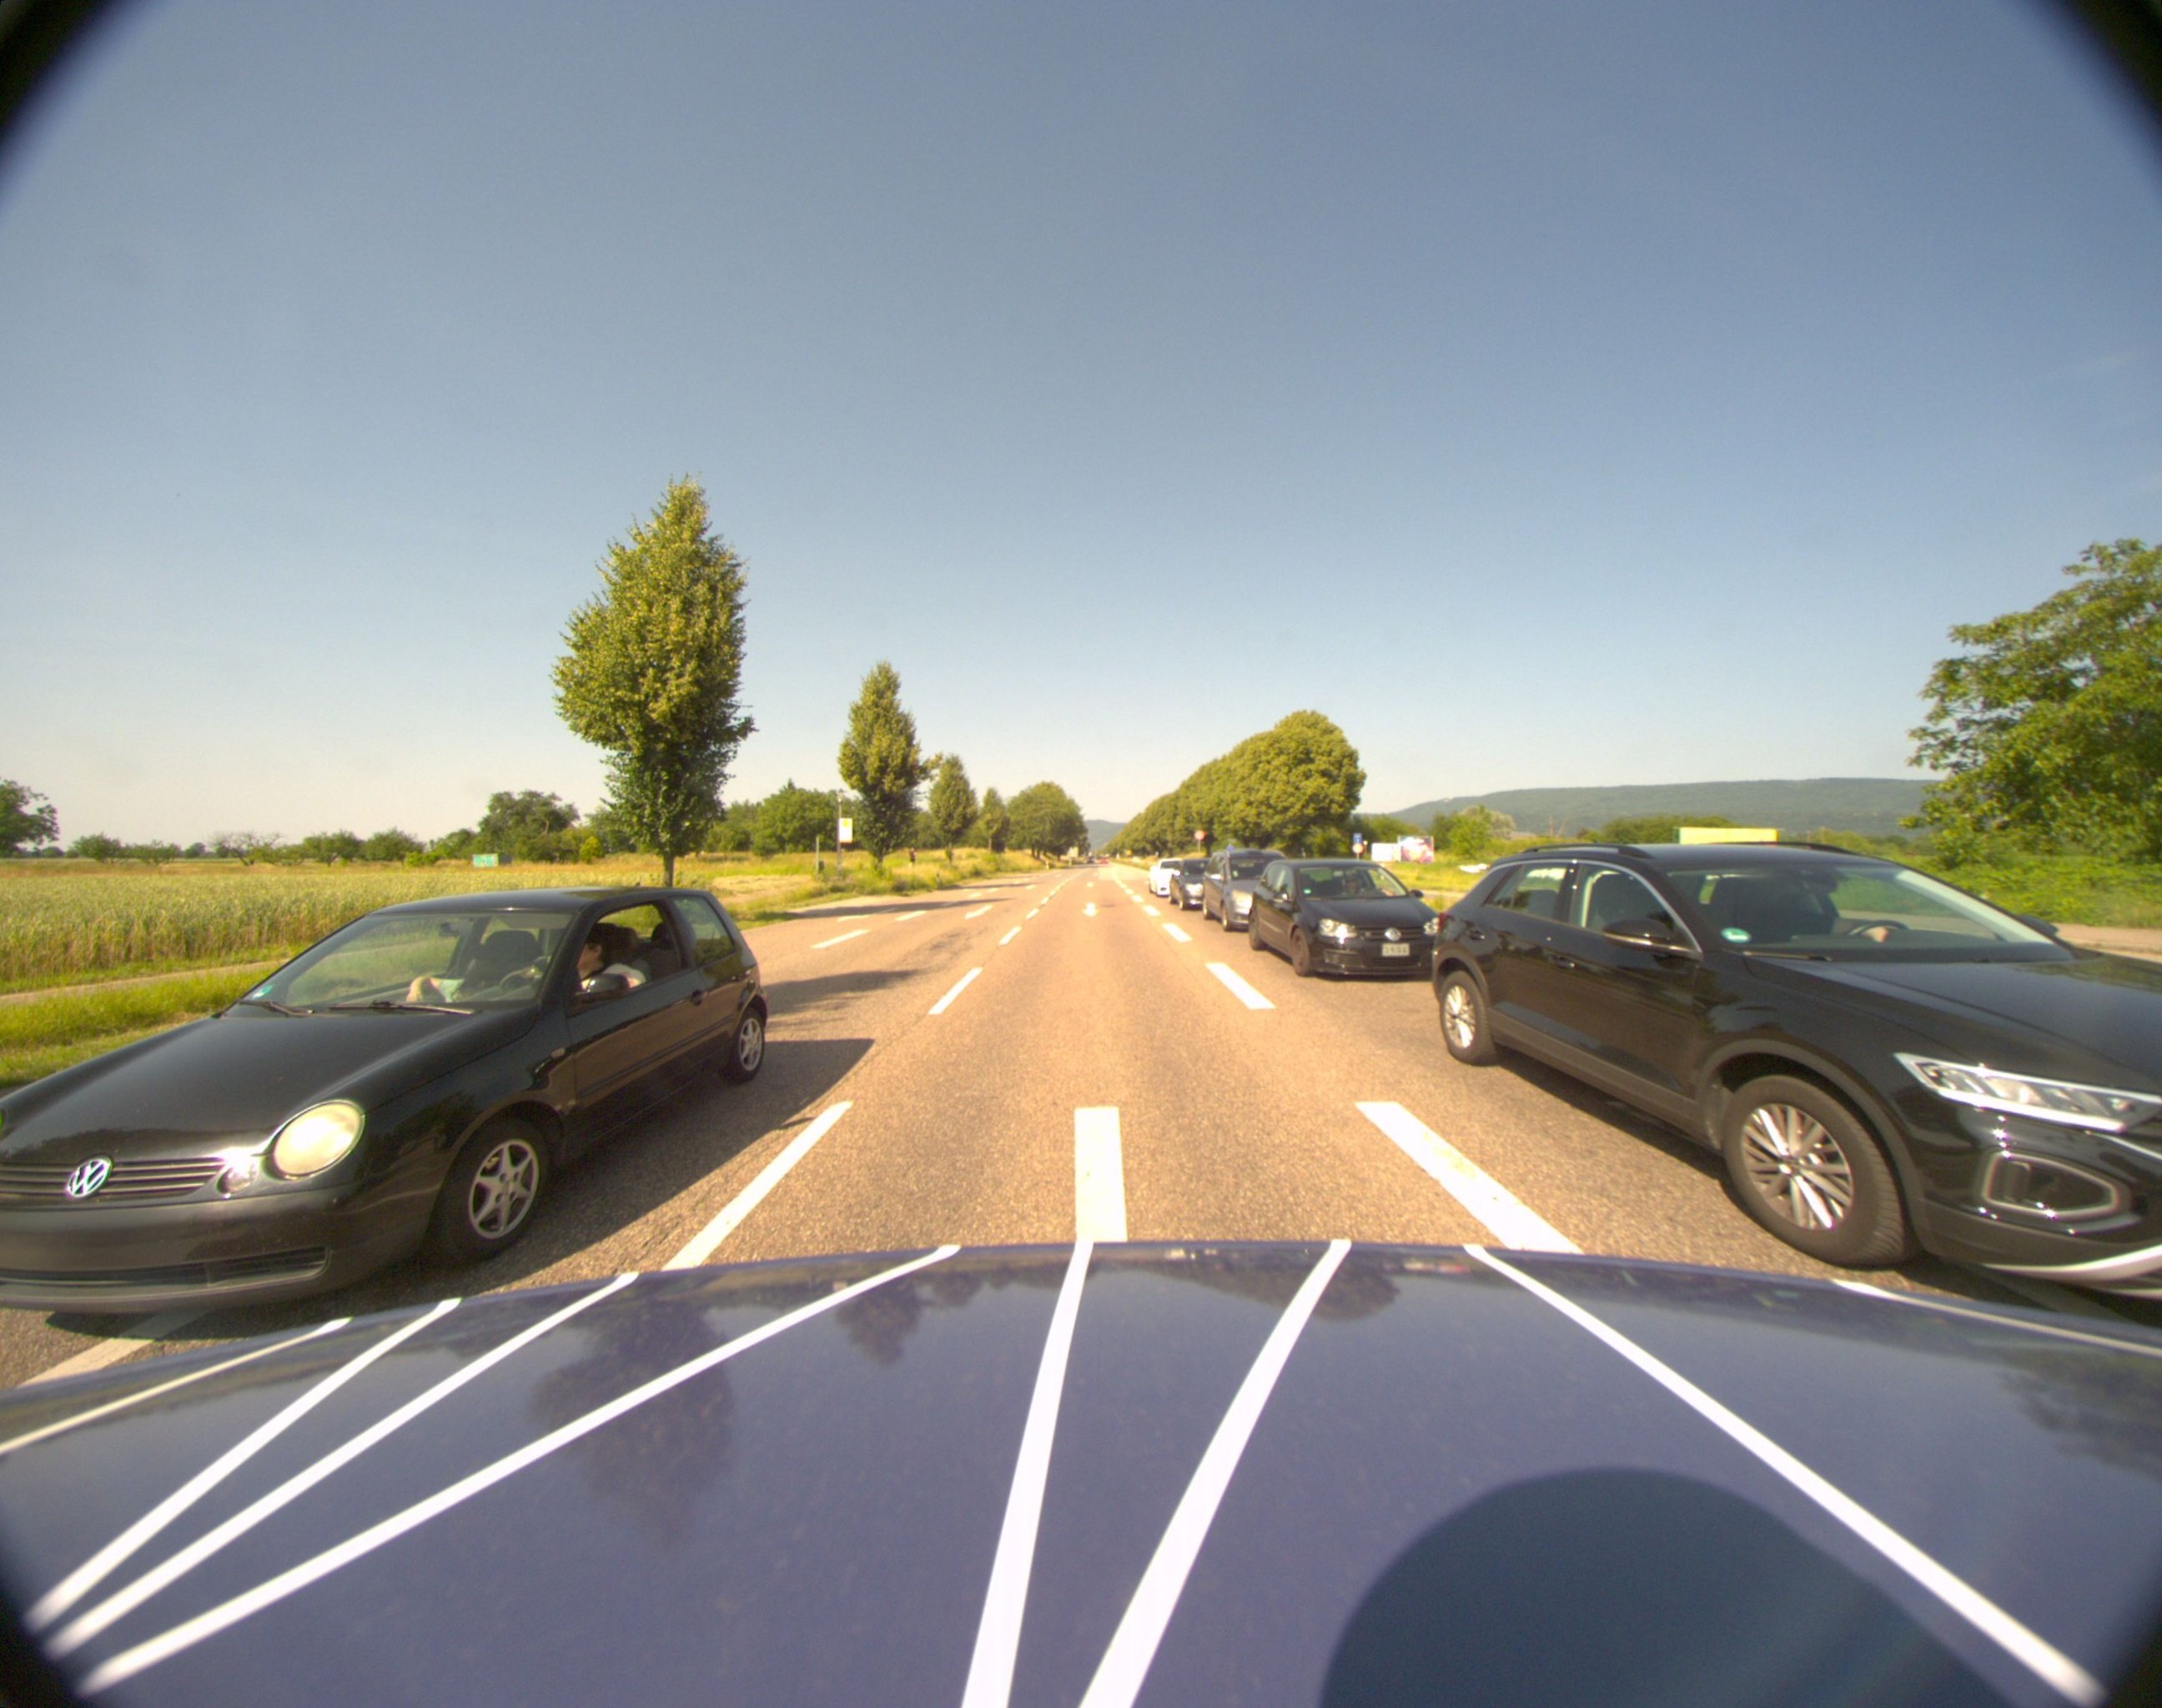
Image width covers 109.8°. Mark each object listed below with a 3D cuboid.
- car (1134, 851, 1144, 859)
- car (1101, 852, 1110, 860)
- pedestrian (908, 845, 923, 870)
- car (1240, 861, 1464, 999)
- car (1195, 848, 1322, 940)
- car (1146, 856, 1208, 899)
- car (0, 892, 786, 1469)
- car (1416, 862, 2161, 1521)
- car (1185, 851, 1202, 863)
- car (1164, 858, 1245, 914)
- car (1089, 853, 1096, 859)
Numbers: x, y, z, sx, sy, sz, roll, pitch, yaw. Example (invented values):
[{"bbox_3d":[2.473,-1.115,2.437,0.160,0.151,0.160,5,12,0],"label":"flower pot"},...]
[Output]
[{"bbox_3d":[11.955,0.203,157.206,1.887,1.506,4.148,-1,0,2],"label":"car"},{"bbox_3d":[4.752,0.393,147.455,1.680,1.499,3.725,0,0,1],"label":"car"},{"bbox_3d":[-12.497,0.255,57.463,0.904,1.828,1.194,0,0,-1],"label":"pedestrian"},{"bbox_3d":[3.433,0.865,10.461,1.670,1.466,4.098,-1,0,1],"label":"car"},{"bbox_3d":[3.617,0.742,16.252,1.745,1.662,4.357,-1,0,1],"label":"car"},{"bbox_3d":[3.606,0.838,29.189,1.808,1.417,4.641,-1,0,1],"label":"car"},{"bbox_3d":[-3.106,1.026,3.953,1.629,1.425,3.622,-2,0,1],"label":"car"},{"bbox_3d":[3.456,0.846,3.884,1.733,1.538,4.098,-1,0,1],"label":"car"},{"bbox_3d":[14.964,0.355,101.021,1.619,1.434,3.775,-2,0,-1],"label":"car"},{"bbox_3d":[3.490,0.861,22.205,1.719,1.402,4.355,-2,0,1],"label":"car"},{"bbox_3d":[2.818,0.459,188.916,1.680,1.499,3.725,0,0,1],"label":"car"}]
